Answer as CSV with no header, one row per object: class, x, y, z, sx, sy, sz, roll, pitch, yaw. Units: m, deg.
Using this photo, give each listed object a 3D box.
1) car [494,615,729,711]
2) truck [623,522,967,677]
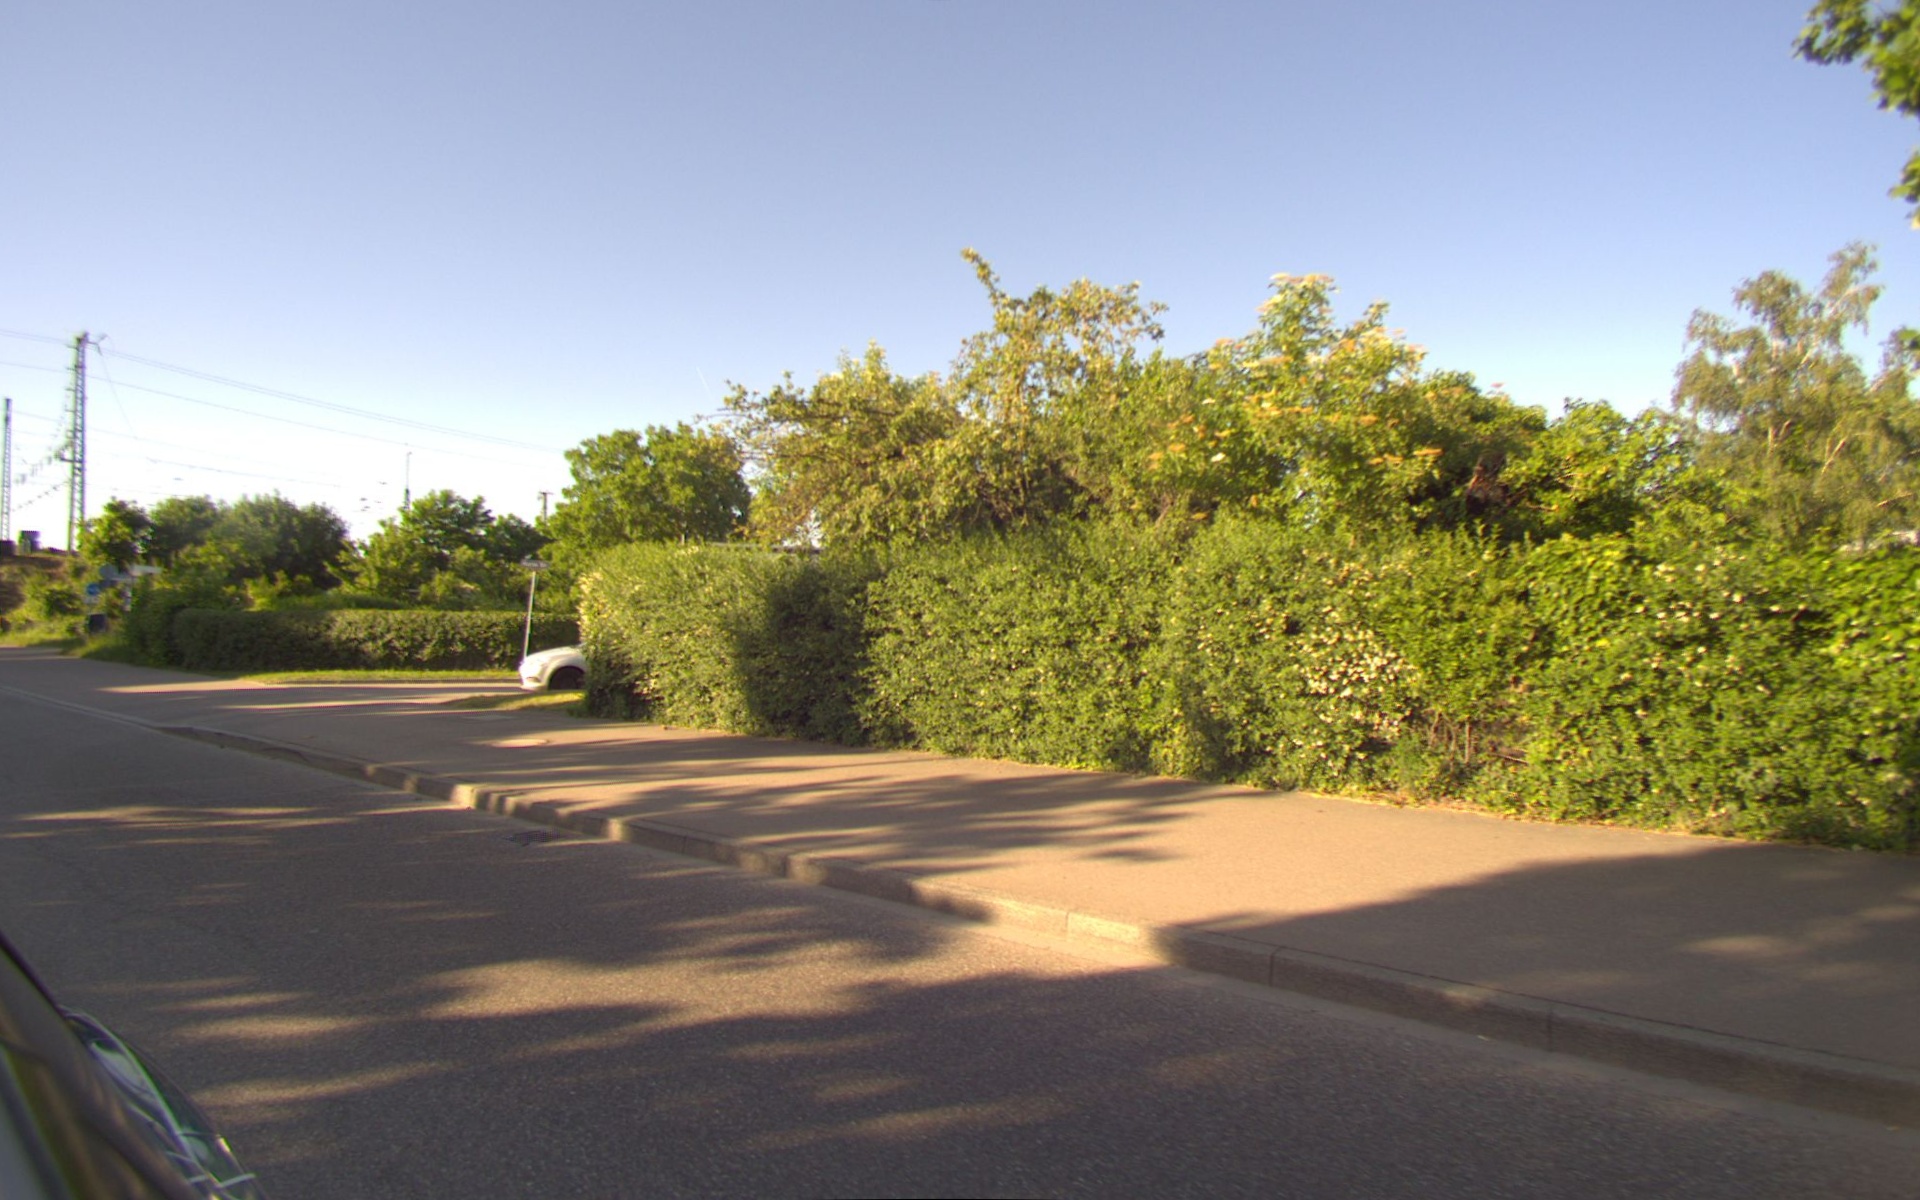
car,-6.804,1.154,19.778,4.151,1.501,1.883,-2,2,-24
truck,-4.566,-0.058,28.439,9.173,3.912,2.720,0,1,-22
